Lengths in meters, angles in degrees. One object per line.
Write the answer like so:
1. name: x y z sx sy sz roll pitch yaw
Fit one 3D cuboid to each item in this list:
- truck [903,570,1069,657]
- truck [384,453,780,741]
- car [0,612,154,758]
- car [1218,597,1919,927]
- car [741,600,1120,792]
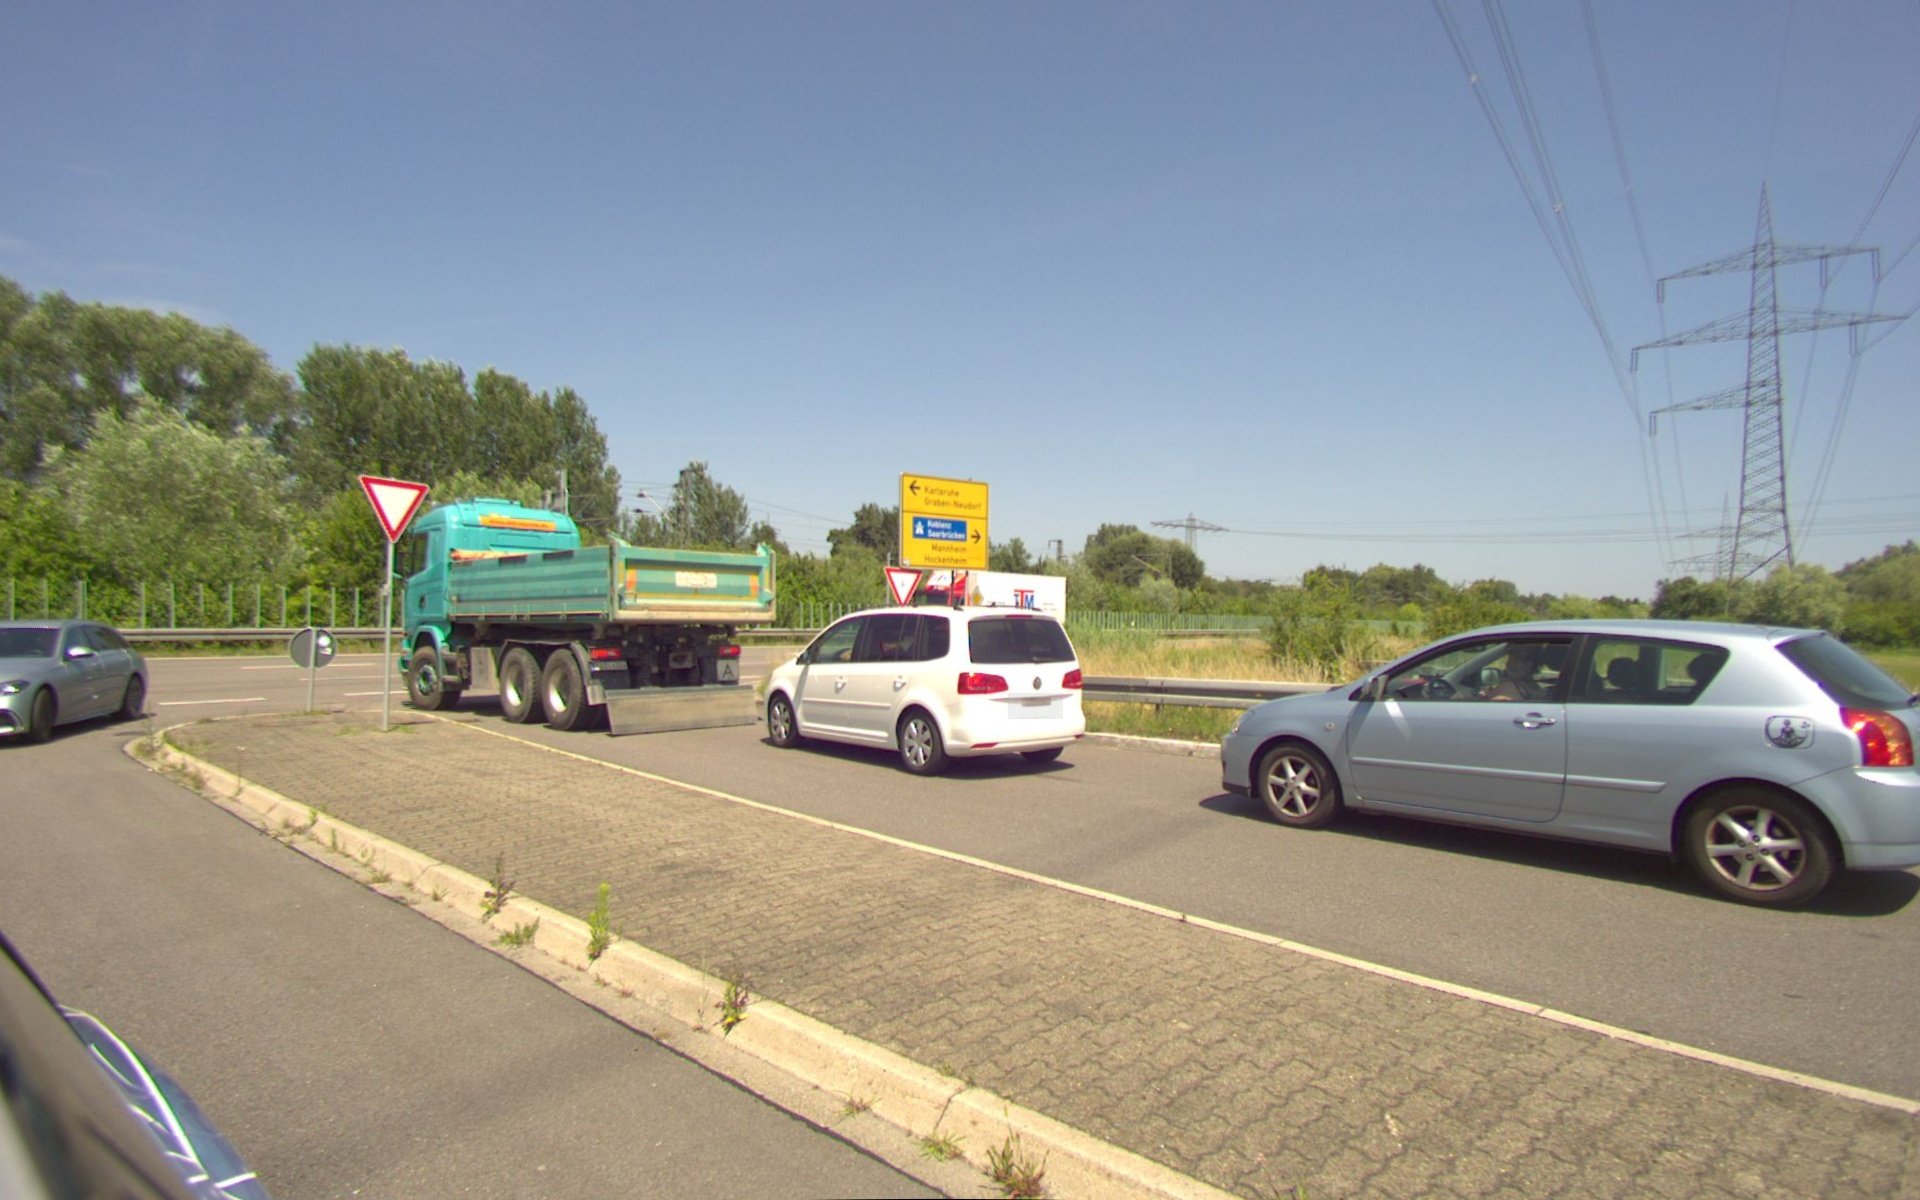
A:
1. truck: 1.452 0.537 46.448 2.720 3.606 9.438 -1 0 36
2. truck: -6.205 0.052 15.805 7.608 3.498 2.574 -1 -3 42
3. car: -11.901 0.940 12.542 1.794 1.498 4.162 1 0 -21
4. car: 3.792 0.776 6.357 1.611 1.470 4.014 1 -2 -40
5. car: -0.523 0.873 10.921 1.750 1.633 4.337 0 -1 -40
